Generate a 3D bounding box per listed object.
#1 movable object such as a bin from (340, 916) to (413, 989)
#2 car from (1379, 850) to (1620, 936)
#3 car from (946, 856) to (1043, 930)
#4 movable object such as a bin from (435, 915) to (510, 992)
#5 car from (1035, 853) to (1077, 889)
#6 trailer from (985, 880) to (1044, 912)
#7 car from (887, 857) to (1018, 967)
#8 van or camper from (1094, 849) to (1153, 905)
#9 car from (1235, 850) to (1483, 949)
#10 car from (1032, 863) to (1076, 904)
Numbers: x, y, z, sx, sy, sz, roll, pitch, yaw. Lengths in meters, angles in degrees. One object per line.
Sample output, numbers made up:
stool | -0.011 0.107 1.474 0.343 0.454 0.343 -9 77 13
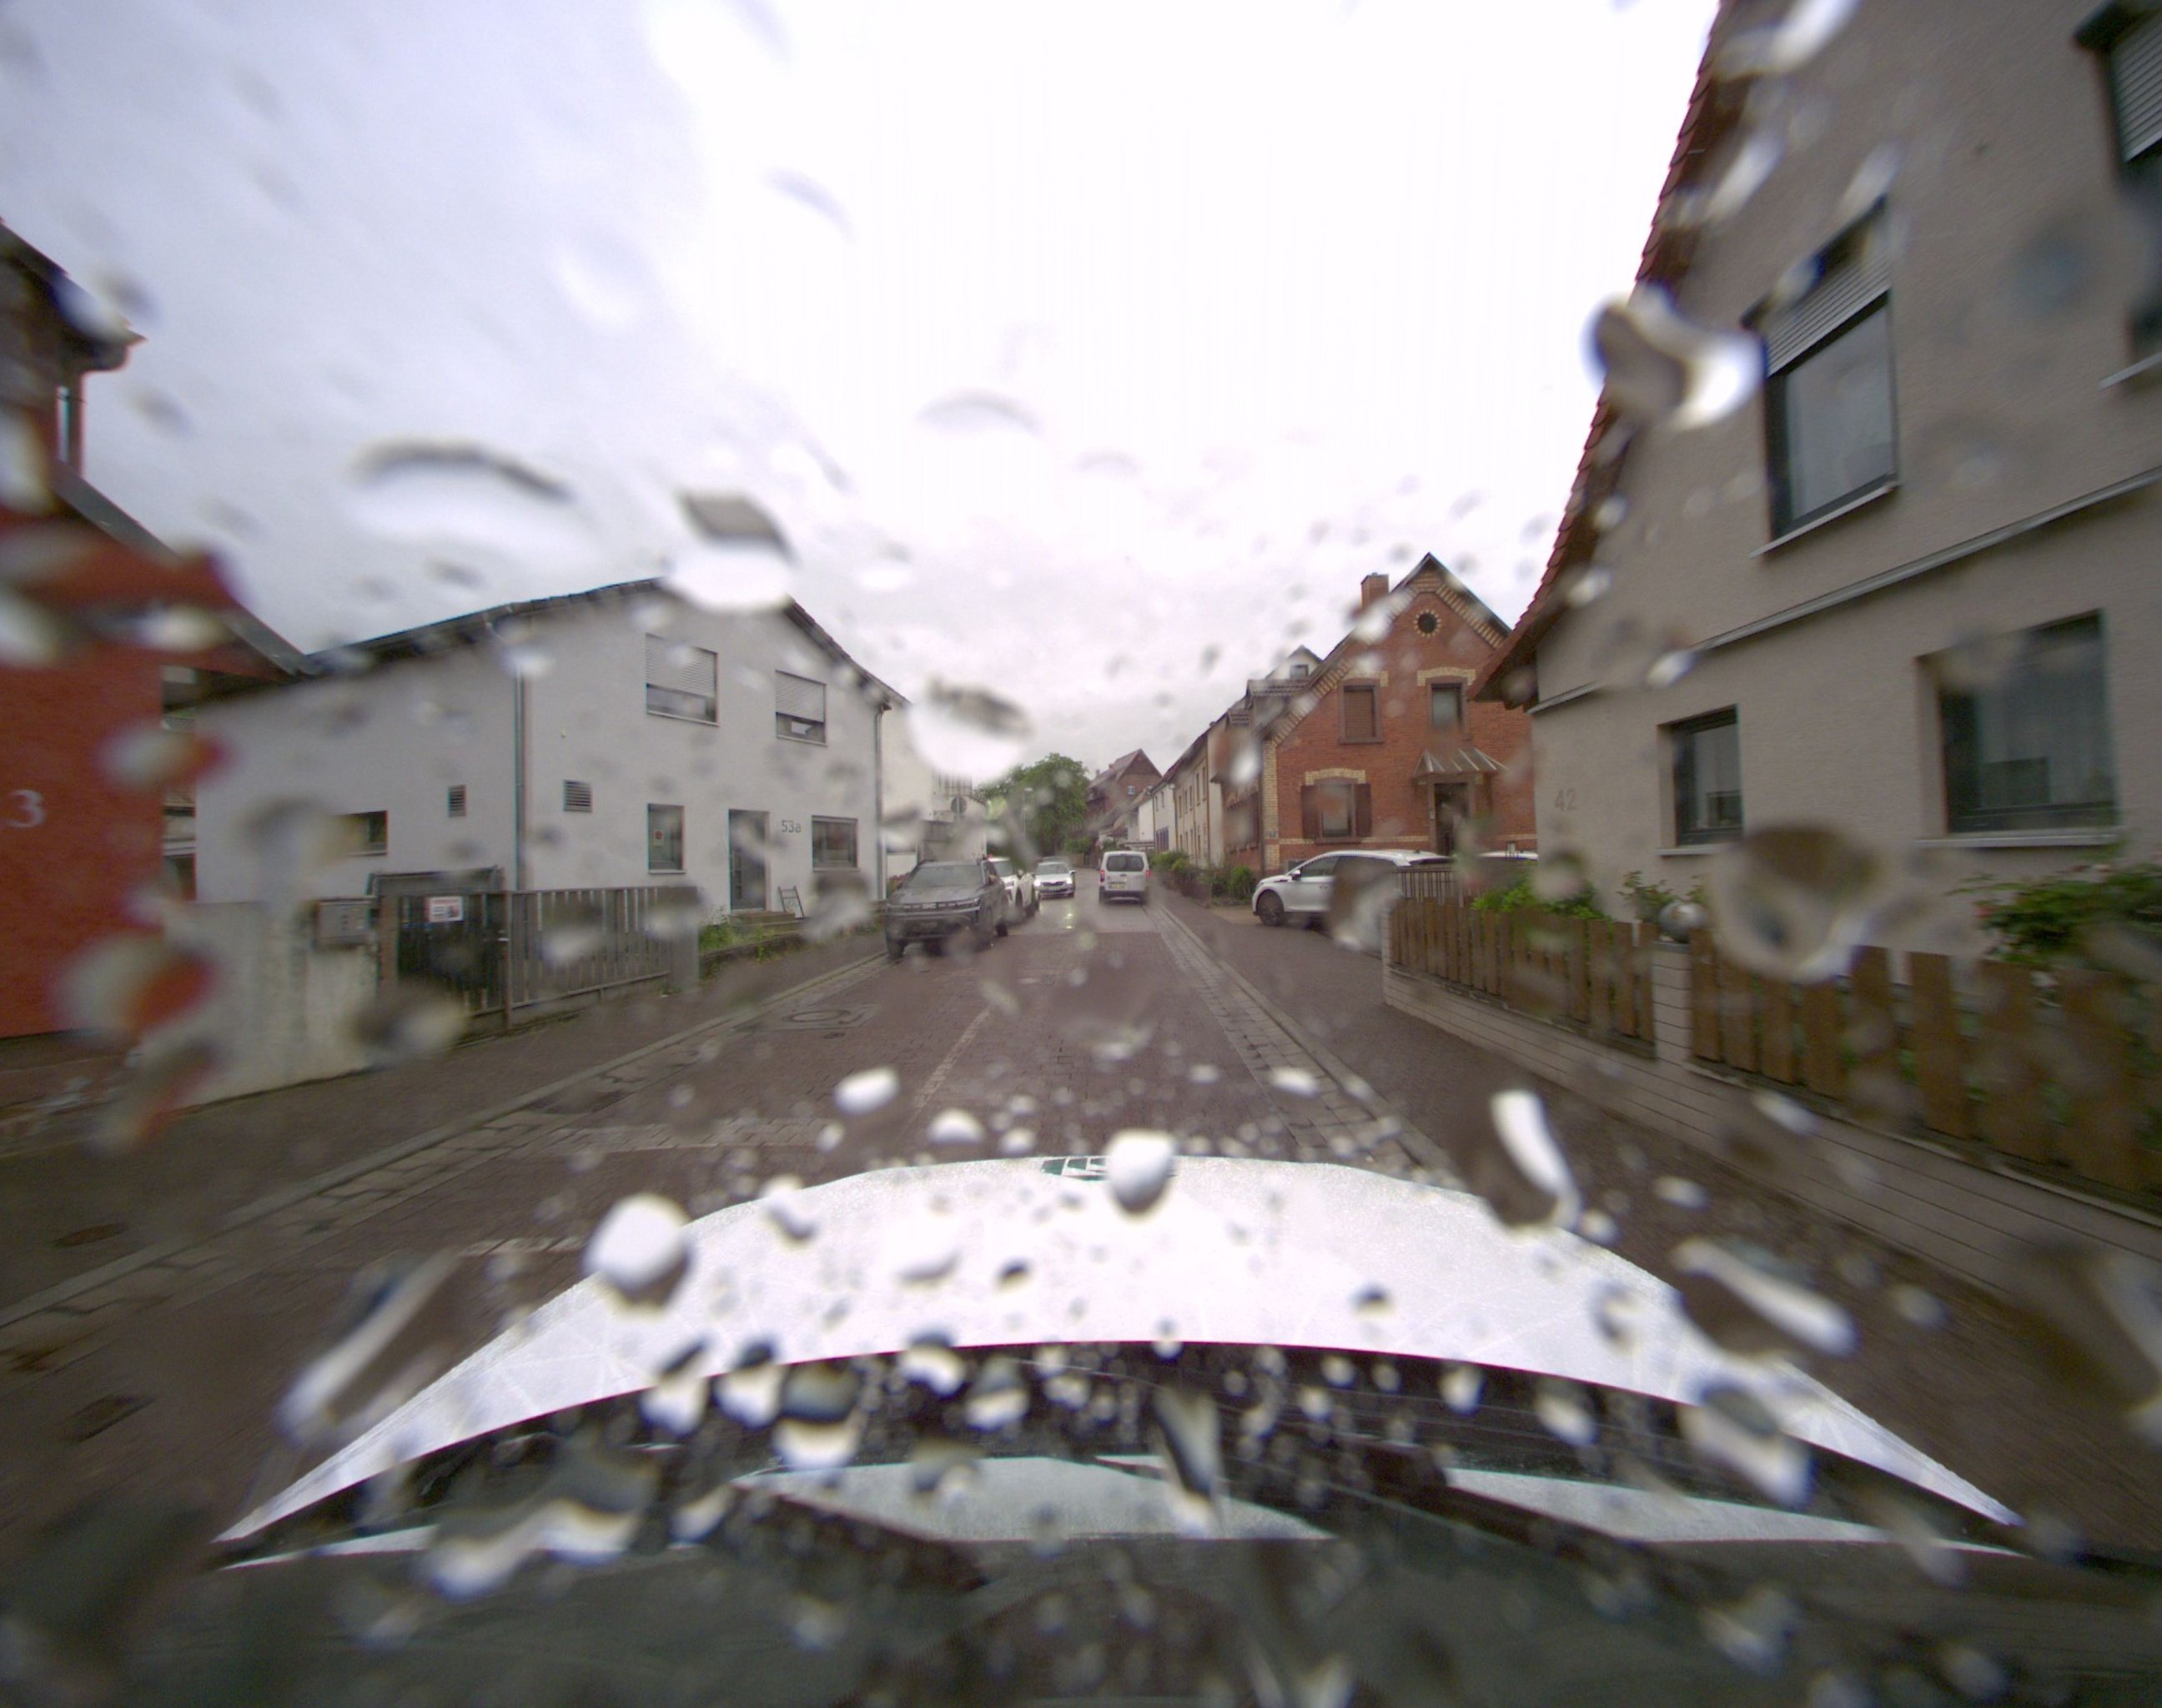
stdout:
movable object such as a bin | -11.074 1.534 12.813 0.606 1.055 0.679 -1 -1 24
car | 8.569 0.712 17.107 1.880 1.516 4.258 -2 1 -24
car | -2.158 0.961 21.532 1.741 1.636 4.422 -4 -1 3
movable object such as a bin | -9.022 1.456 12.084 0.606 1.055 0.679 -1 -1 24
car | -1.267 0.825 42.242 1.988 1.677 4.780 -3 0 -1
trailer | -2.024 1.284 25.244 1.477 0.829 2.677 -4 -2 2
car | -2.366 1.001 16.012 1.806 1.779 4.018 -2 0 1
van or camper | 1.500 0.777 29.313 1.936 1.851 4.002 -1 0 2
car | 5.331 0.765 16.289 1.883 1.590 4.575 0 1 -30
car | -1.176 1.233 34.111 1.685 1.565 3.929 -2 -2 -3
